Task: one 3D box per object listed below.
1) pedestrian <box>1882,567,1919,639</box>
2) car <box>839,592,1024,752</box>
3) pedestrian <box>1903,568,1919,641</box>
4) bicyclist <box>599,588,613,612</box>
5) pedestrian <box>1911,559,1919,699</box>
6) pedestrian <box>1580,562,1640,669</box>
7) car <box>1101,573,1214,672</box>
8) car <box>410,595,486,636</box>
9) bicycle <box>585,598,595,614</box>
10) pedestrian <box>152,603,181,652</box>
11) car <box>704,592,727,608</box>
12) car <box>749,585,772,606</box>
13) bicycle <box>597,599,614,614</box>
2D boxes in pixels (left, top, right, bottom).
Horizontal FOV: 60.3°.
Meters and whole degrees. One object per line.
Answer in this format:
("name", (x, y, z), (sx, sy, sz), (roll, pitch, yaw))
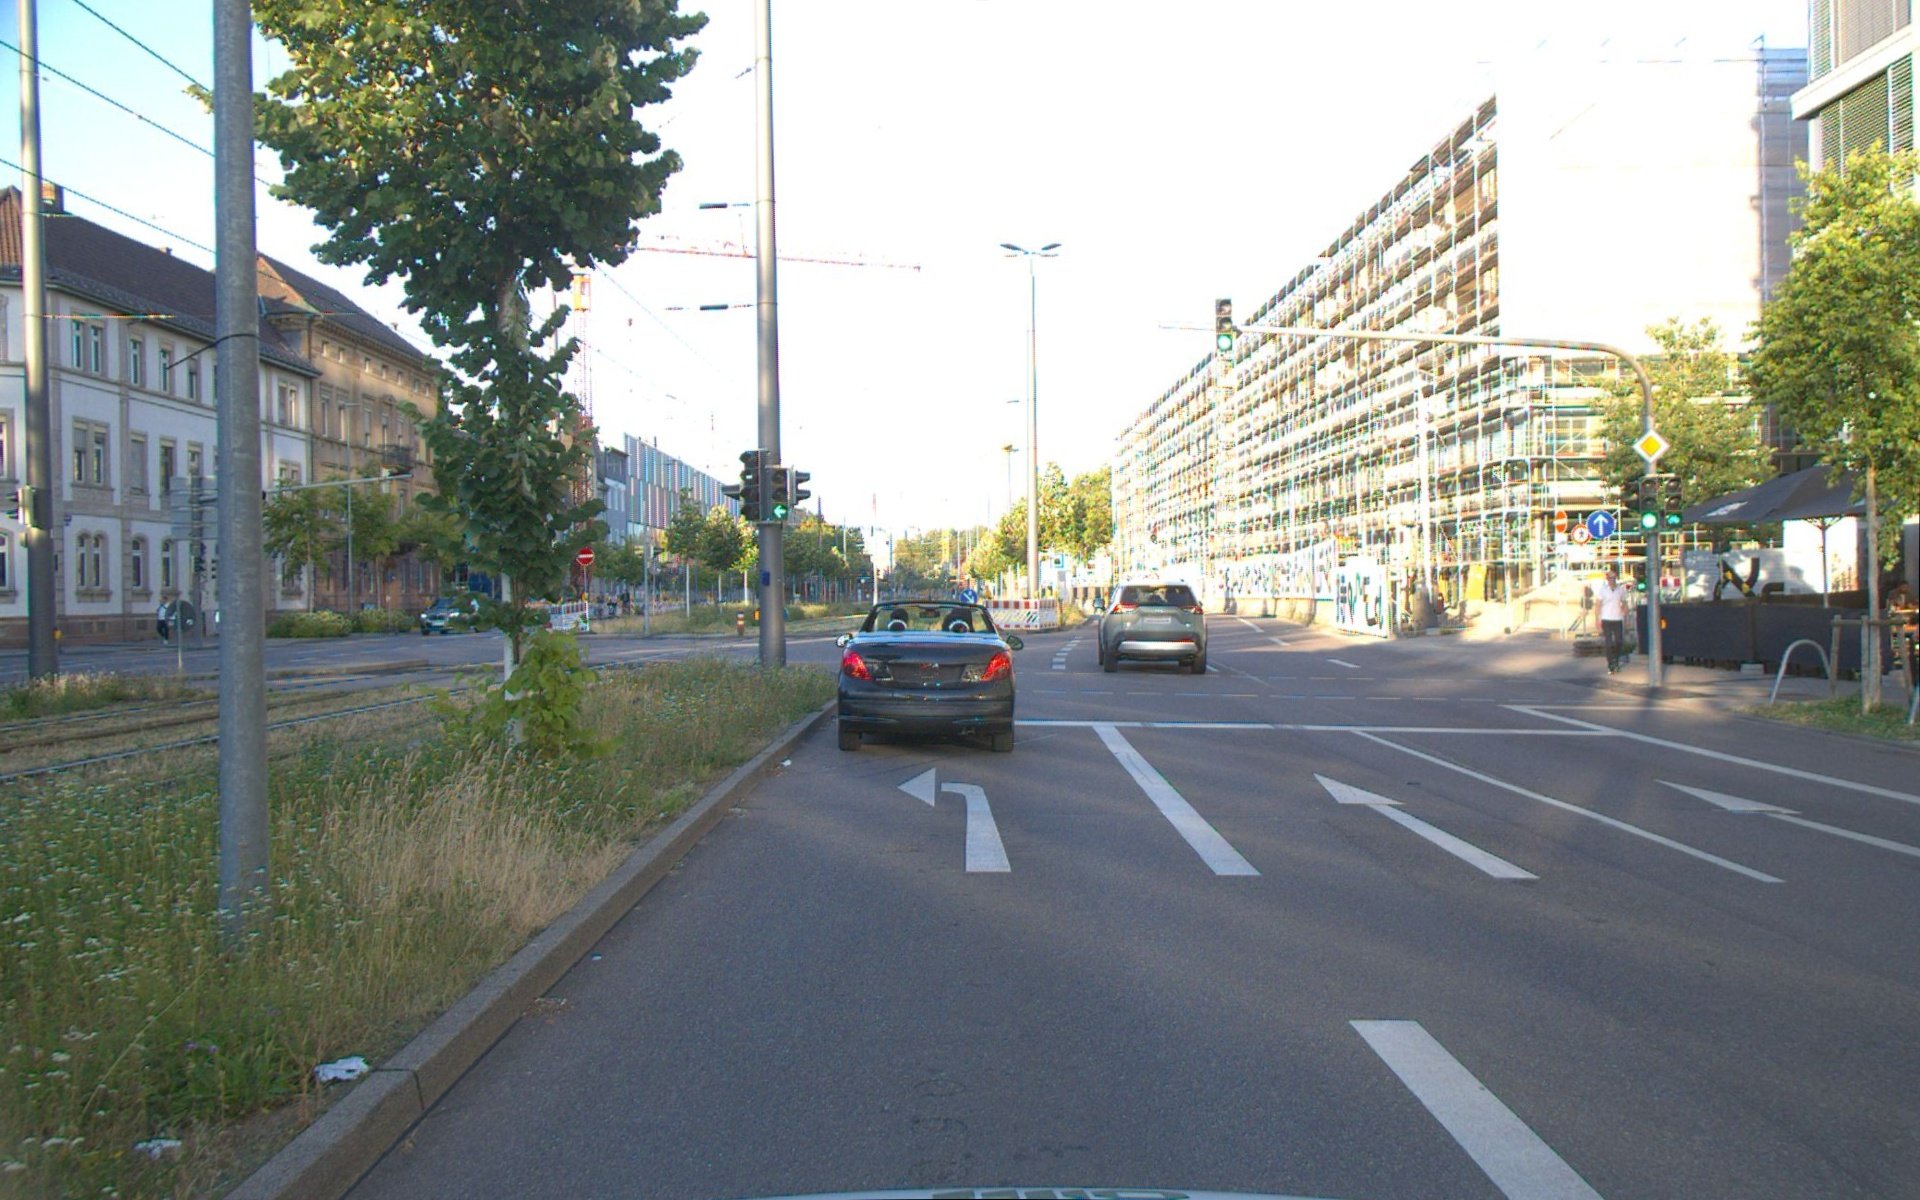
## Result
("pedestrian", (18.317, 0.055, 32.055), (0.600, 1.342, 0.621), (-4, 0, 17))
("car", (-0.282, 0.629, 16.663), (1.640, 1.375, 3.999), (0, 1, -1))
("pedestrian", (18.330, 0.069, 31.152), (0.730, 1.342, 0.715), (-4, 0, 12))
("bicyclist", (-23.821, -0.031, 111.214), (0.756, 1.598, 0.793), (1, 0, 1))
("pedestrian", (12.134, 0.349, 20.129), (0.640, 1.731, 0.689), (-3, 0, -1))
("pedestrian", (11.732, 0.267, 29.867), (0.753, 1.880, 0.678), (-2, 0, -1))
("car", (3.611, 0.363, 30.843), (1.795, 1.701, 4.284), (0, 1, 3))
("car", (-22.268, 0.647, 72.085), (1.953, 1.607, 4.124), (-2, 1, 0))
("bicycle", (-24.059, 0.399, 107.564), (0.579, 1.006, 1.552), (1, 1, -10))
("pedestrian", (-28.781, 0.994, 60.025), (0.688, 1.745, 0.812), (1, 0, -5))
("car", (-24.026, 0.001, 162.796), (1.623, 1.456, 3.895), (1, 1, 1))
("car", (-19.596, -0.421, 162.790), (1.623, 1.998, 4.267), (1, 1, 1))
("bicycle", (-23.832, 0.446, 111.215), (0.756, 0.961, 1.640), (1, 1, 1))
